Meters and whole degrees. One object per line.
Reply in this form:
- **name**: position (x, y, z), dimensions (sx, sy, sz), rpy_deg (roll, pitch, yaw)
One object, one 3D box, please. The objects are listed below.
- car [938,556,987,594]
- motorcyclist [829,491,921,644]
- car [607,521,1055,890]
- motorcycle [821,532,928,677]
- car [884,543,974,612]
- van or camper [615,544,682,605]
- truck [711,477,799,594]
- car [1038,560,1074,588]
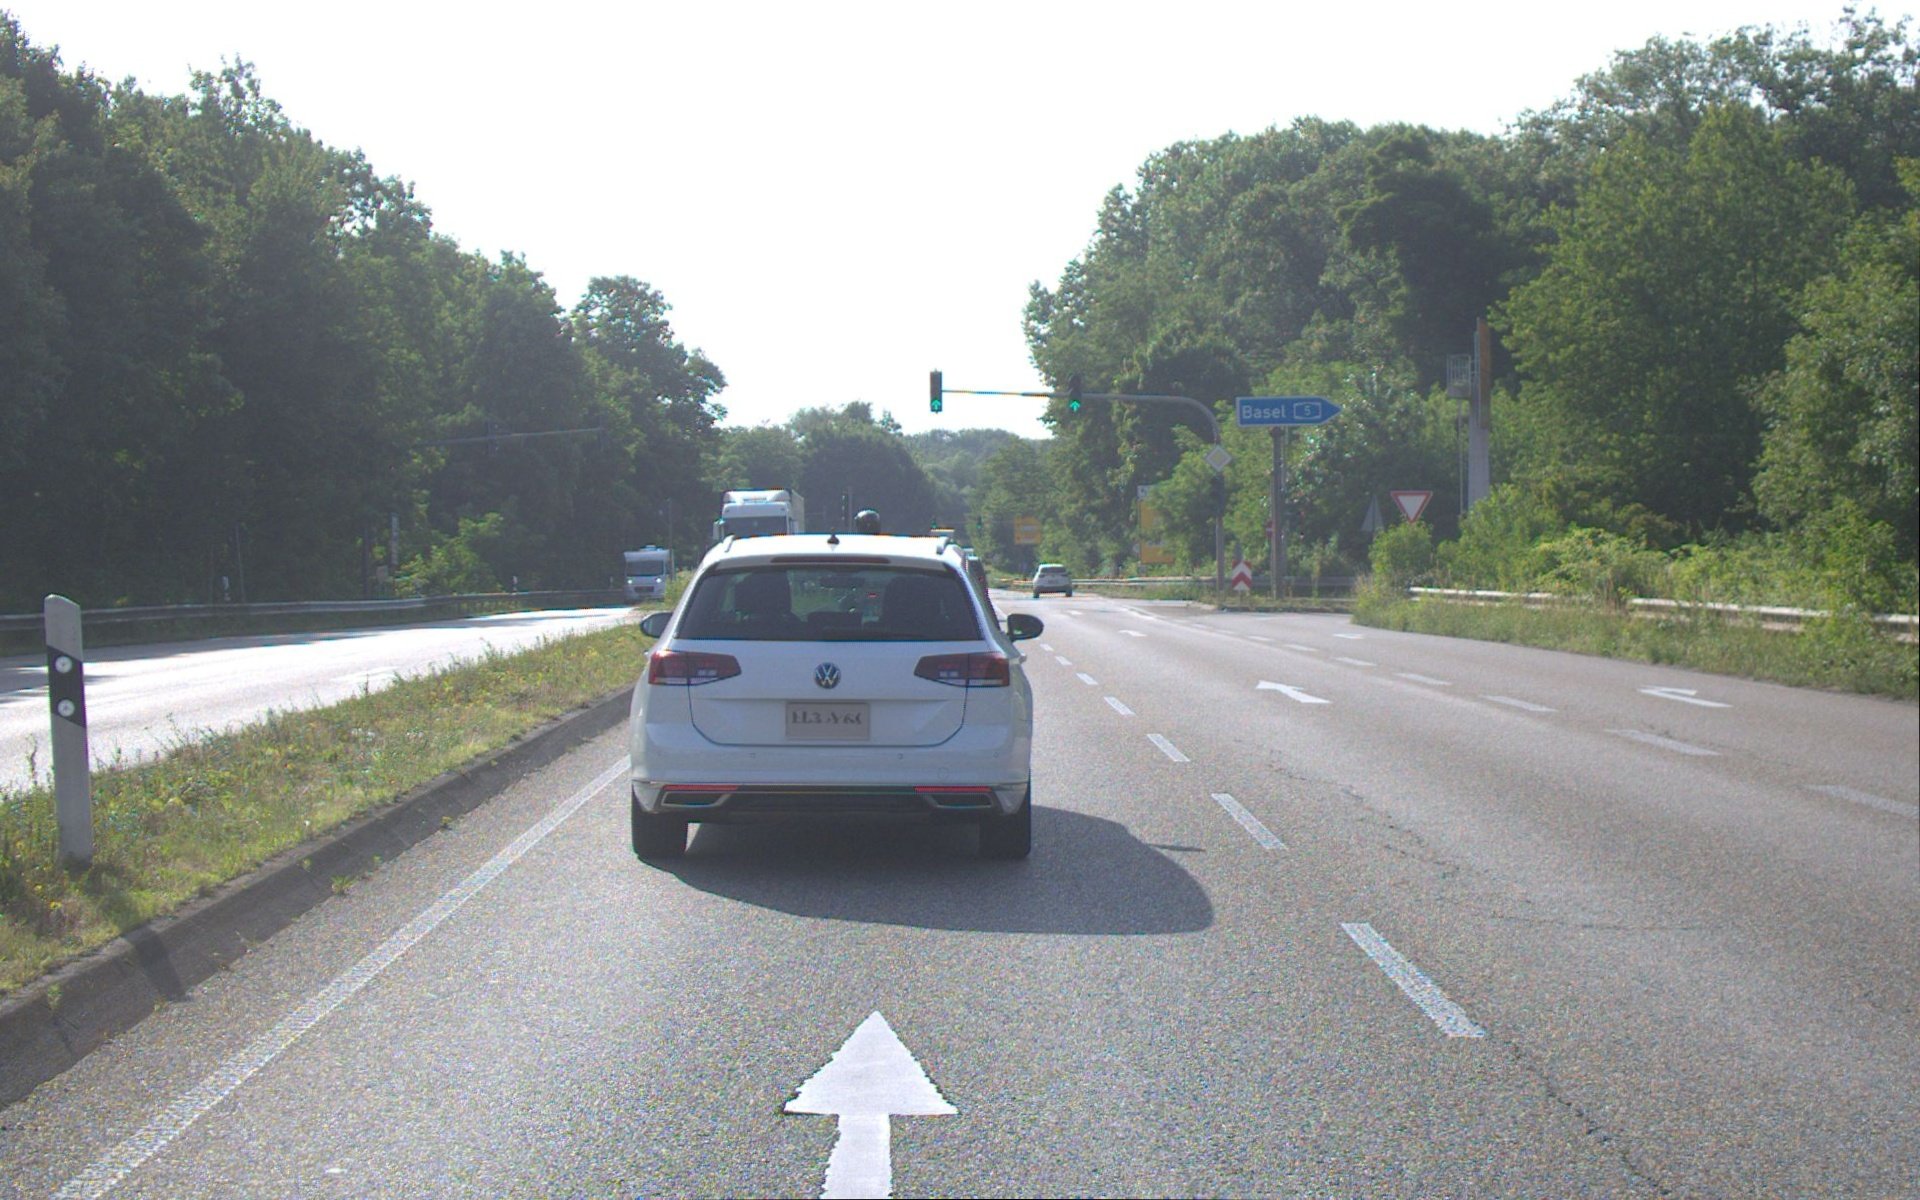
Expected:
- **car**: position (0.101, -0.935, 128.234), dimensions (1.761, 1.375, 3.971), rpy_deg (1, 1, 1)
- **motorcyclist**: position (-0.906, -0.349, 36.981), dimensions (0.884, 1.610, 1.290), rpy_deg (1, 0, 2)
- **car**: position (-0.530, 0.385, 16.789), dimensions (1.870, 1.516, 4.834), rpy_deg (0, 2, 0)
- **motorcycle**: position (-0.899, 0.026, 36.986), dimensions (0.909, 1.448, 2.689), rpy_deg (-4, 1, 2)
- **car**: position (-0.619, -0.473, 71.232), dimensions (1.761, 1.375, 3.971), rpy_deg (1, 1, 1)
- **van or camper**: position (-14.711, -1.216, 162.560), dimensions (2.413, 2.701, 6.437), rpy_deg (-3, 0, 0)
- **truck**: position (-7.204, -2.242, 121.518), dimensions (2.890, 3.984, 6.722), rpy_deg (0, 1, -2)
- **car**: position (4.798, -1.310, 172.230), dimensions (1.761, 1.375, 3.971), rpy_deg (1, 1, 1)
